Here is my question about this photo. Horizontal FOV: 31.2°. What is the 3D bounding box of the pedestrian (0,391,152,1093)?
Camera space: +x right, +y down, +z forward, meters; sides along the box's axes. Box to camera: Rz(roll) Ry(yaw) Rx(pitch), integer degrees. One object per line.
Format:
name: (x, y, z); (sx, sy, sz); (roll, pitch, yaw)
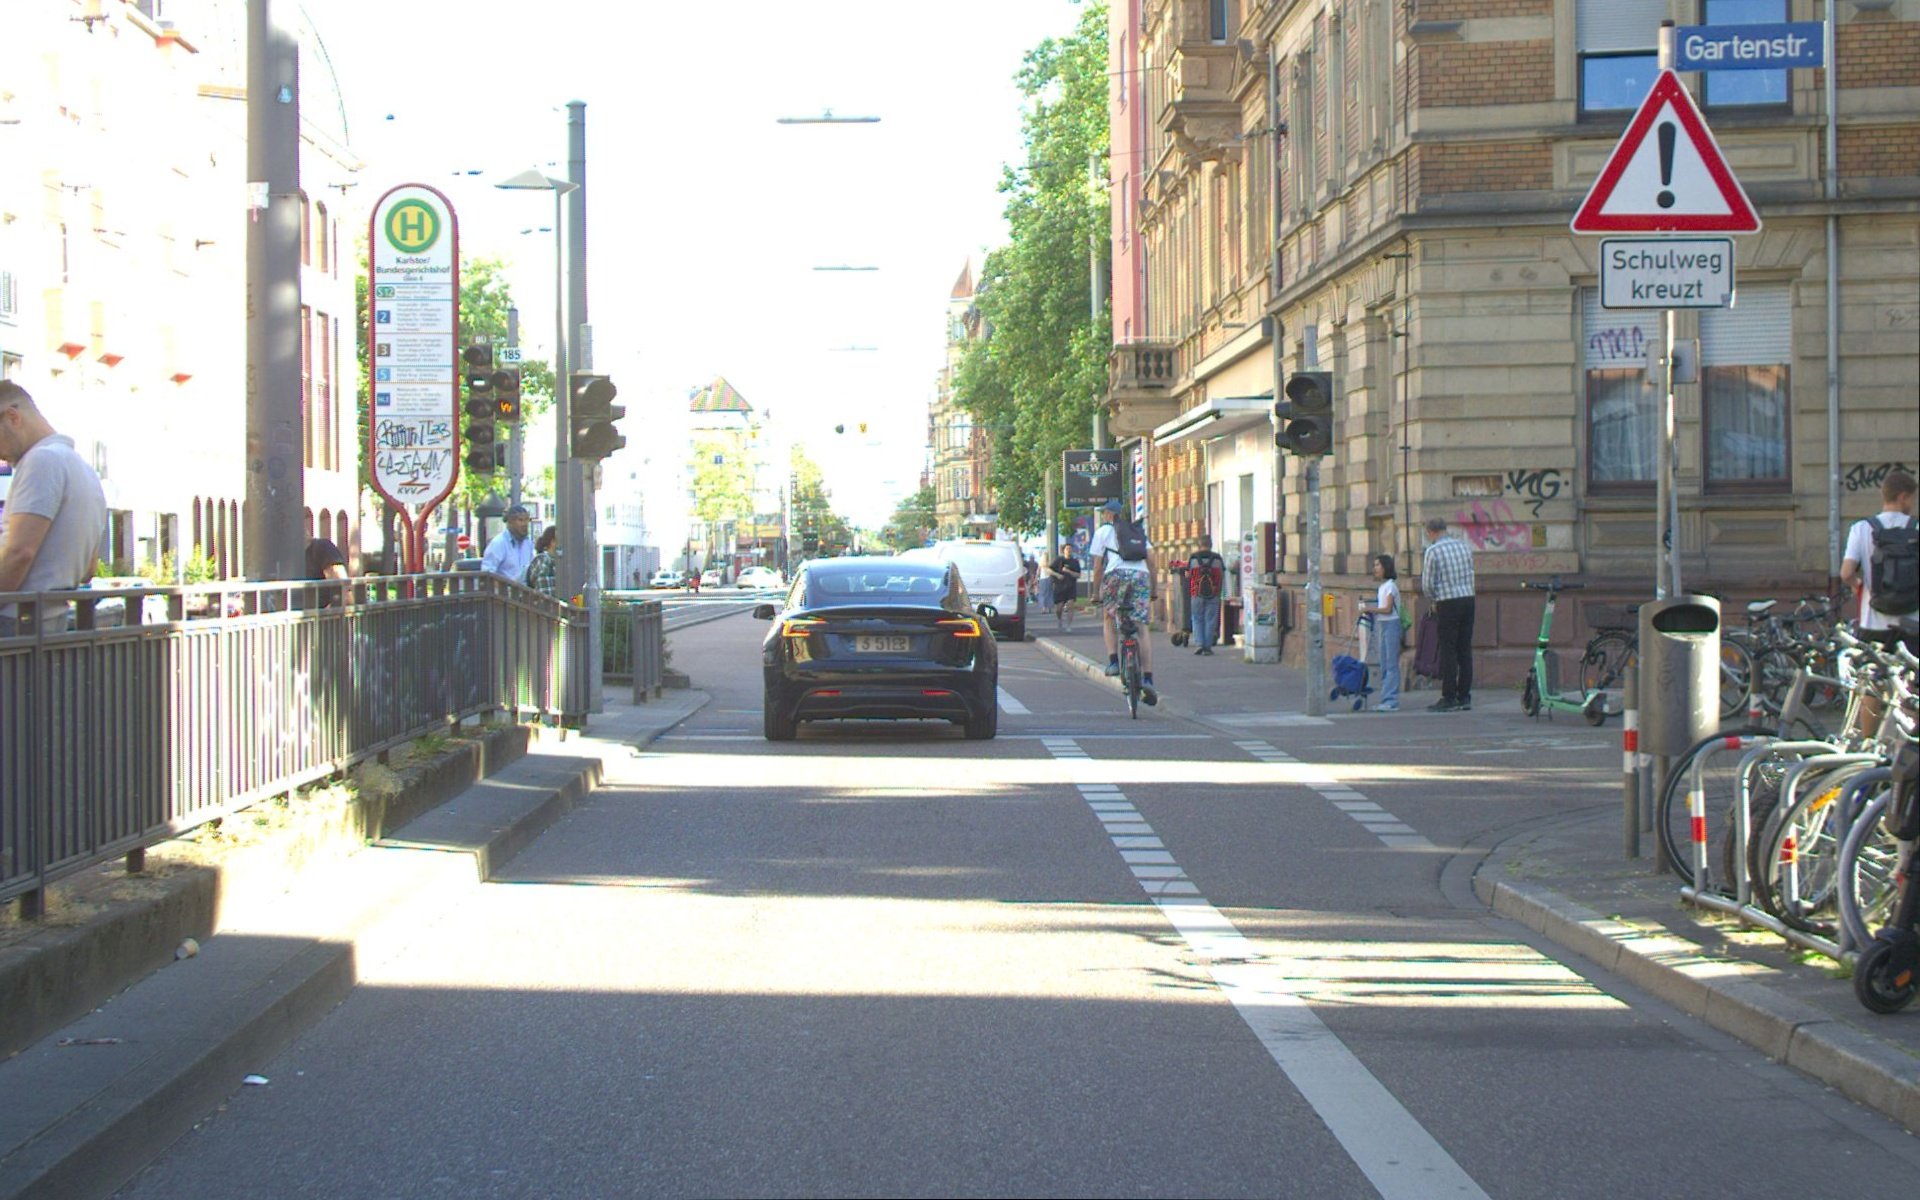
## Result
pedestrian: (-2.888, 0.424, 10.743); (0.537, 2.113, 0.808); (-1, 1, -2)

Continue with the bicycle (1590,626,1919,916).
bicycle: (3.559, 0.667, 13.772); (1.945, 1.103, 0.564); (-1, 1, -3)

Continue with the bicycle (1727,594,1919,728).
bicycle: (7.482, 0.509, 29.556); (0.443, 1.111, 1.814); (-1, 1, -42)

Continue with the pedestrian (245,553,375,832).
pedestrian: (-3.147, 0.440, 16.657); (0.480, 1.325, 0.354); (0, 1, 29)

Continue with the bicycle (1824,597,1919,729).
bicycle: (8.294, 0.535, 29.391); (0.443, 1.111, 1.814); (-1, 1, -42)

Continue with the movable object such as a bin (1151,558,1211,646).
movable object such as a bin: (3.435, 0.029, 53.509); (0.775, 1.343, 1.299); (0, 0, -3)

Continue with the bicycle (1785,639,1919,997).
bicycle: (3.710, 0.675, 11.097); (1.945, 1.103, 0.564); (-1, 1, -3)

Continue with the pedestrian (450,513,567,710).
pedestrian: (-4.251, 0.106, 32.387); (0.594, 1.815, 0.940); (2, 1, 32)

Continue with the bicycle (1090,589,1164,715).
bicycle: (1.561, 0.472, 32.346); (0.647, 1.135, 2.095); (0, 0, 2)

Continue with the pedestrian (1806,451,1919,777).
pedestrian: (5.741, 0.081, 21.226); (0.941, 1.978, 0.717); (1, 0, 18)

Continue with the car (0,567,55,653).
car: (-18.975, 0.171, 66.772); (1.917, 1.608, 4.370); (0, 1, -4)

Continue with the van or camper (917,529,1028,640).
van or camper: (0.192, -0.288, 66.779); (1.931, 2.030, 5.476); (1, 0, -2)

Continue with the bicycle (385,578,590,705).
bicycle: (-4.466, 0.387, 32.444); (1.942, 1.090, 0.598); (3, 0, 33)

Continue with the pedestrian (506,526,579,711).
pedestrian: (-3.679, 0.159, 30.265); (0.517, 1.585, 0.667); (3, 0, -10)

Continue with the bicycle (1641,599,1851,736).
bicycle: (6.629, 0.555, 29.080); (0.443, 1.111, 1.814); (-1, 1, -41)

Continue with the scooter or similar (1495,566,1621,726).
scooter or similar: (4.966, 0.368, 28.620); (0.390, 1.285, 1.523); (-1, 1, -17)

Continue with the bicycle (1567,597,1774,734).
bicycle: (5.992, 0.539, 29.077); (0.443, 1.111, 1.814); (-1, 1, -41)

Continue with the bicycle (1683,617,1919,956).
bicycle: (3.651, 0.646, 12.365); (1.945, 1.162, 0.628); (-1, 1, -3)

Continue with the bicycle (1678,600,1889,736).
bicycle: (7.016, 0.562, 29.352); (0.443, 1.111, 1.814); (-1, 1, -42)

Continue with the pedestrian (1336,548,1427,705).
pedestrian: (3.839, 0.235, 31.352); (0.574, 1.410, 0.581); (1, 1, -25)

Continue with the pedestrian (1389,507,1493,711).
pedestrian: (4.326, 0.071, 30.955); (0.847, 1.801, 0.876); (-1, 1, 4)

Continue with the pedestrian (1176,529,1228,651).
pedestrian: (3.450, -0.148, 49.008); (0.470, 1.722, 0.586); (0, 2, 35)

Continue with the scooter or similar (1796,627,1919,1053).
scooter or similar: (3.380, 0.682, 10.437); (1.478, 1.225, 0.591); (-3, 1, -1)

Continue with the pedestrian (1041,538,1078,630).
pedestrian: (1.973, -0.318, 68.221); (0.672, 1.808, 0.756); (0, 0, -2)

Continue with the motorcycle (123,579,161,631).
motorcycle: (-20.855, 0.120, 87.701); (0.519, 1.293, 2.082); (1, 1, -2)

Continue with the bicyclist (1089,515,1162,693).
bicyclist: (1.557, 0.035, 32.495); (0.655, 1.650, 0.927); (0, 0, 1)

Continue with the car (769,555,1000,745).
car: (-0.638, 0.353, 27.718); (1.719, 1.400, 3.710); (1, 1, -2)

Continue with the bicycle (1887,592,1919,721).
bicycle: (8.880, 0.491, 29.522); (0.443, 1.111, 1.814); (-1, 1, -42)

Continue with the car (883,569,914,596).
car: (-3.364, -0.956, 188.213); (1.593, 1.428, 3.686); (-1, 0, 0)

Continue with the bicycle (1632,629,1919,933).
bicycle: (3.605, 0.670, 13.125); (1.945, 1.103, 0.564); (-1, 1, -3)

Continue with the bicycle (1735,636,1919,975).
bicycle: (3.684, 0.675, 11.711); (1.945, 1.103, 0.564); (-1, 1, -3)

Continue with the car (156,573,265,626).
car: (-19.654, -0.036, 90.301); (1.960, 1.321, 4.821); (1, 1, -2)

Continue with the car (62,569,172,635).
car: (-19.334, 0.022, 79.018); (1.751, 1.470, 4.208); (0, 1, -4)
